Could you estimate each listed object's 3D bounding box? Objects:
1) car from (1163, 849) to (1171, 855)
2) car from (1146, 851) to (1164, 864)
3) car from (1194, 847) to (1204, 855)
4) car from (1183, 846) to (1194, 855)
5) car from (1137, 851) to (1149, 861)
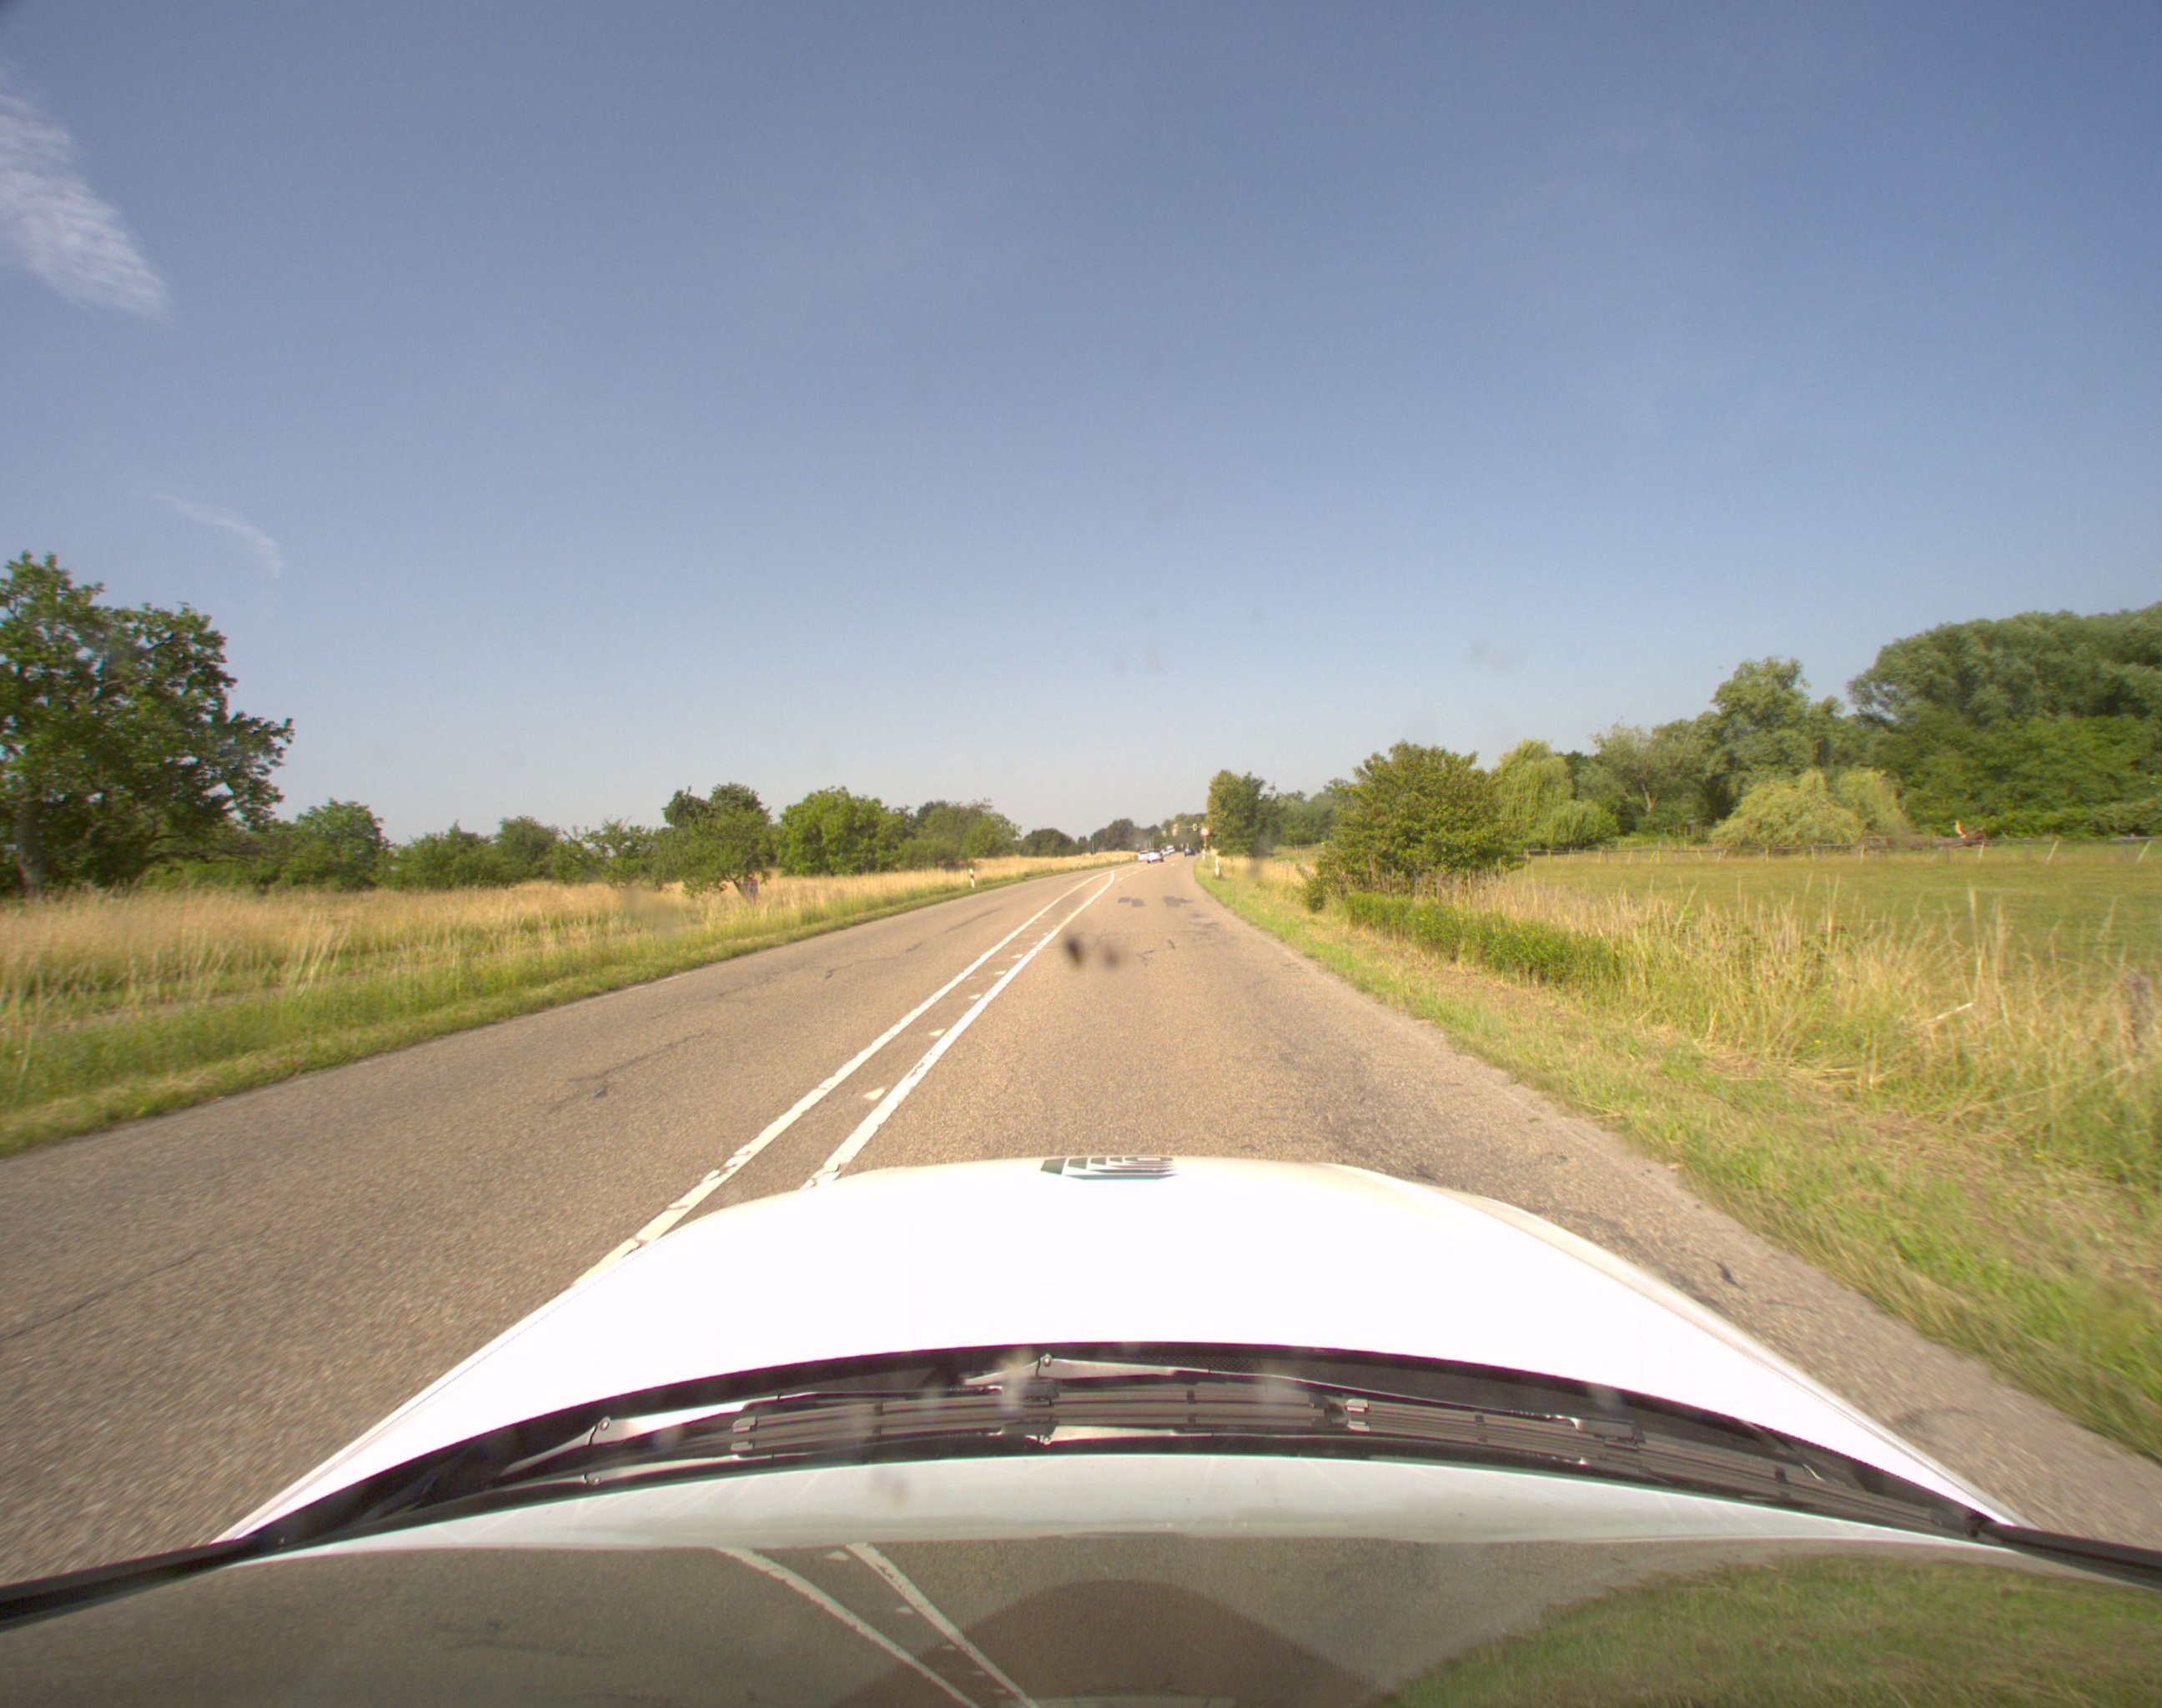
[{"bbox_3d":[23.727,-0.500,224.740,1.824,1.694,3.869,-3,0,9],"label":"car"},{"bbox_3d":[8.777,0.367,96.938,1.888,1.512,4.009,-1,0,8],"label":"car"},{"bbox_3d":[26.032,-0.656,179.753,1.833,1.552,4.004,-1,0,4],"label":"car"},{"bbox_3d":[19.327,-0.652,145.891,1.805,1.520,4.010,-4,0,9],"label":"car"},{"bbox_3d":[10.121,0.272,132.542,1.803,1.585,4.232,-1,0,6],"label":"car"}]
